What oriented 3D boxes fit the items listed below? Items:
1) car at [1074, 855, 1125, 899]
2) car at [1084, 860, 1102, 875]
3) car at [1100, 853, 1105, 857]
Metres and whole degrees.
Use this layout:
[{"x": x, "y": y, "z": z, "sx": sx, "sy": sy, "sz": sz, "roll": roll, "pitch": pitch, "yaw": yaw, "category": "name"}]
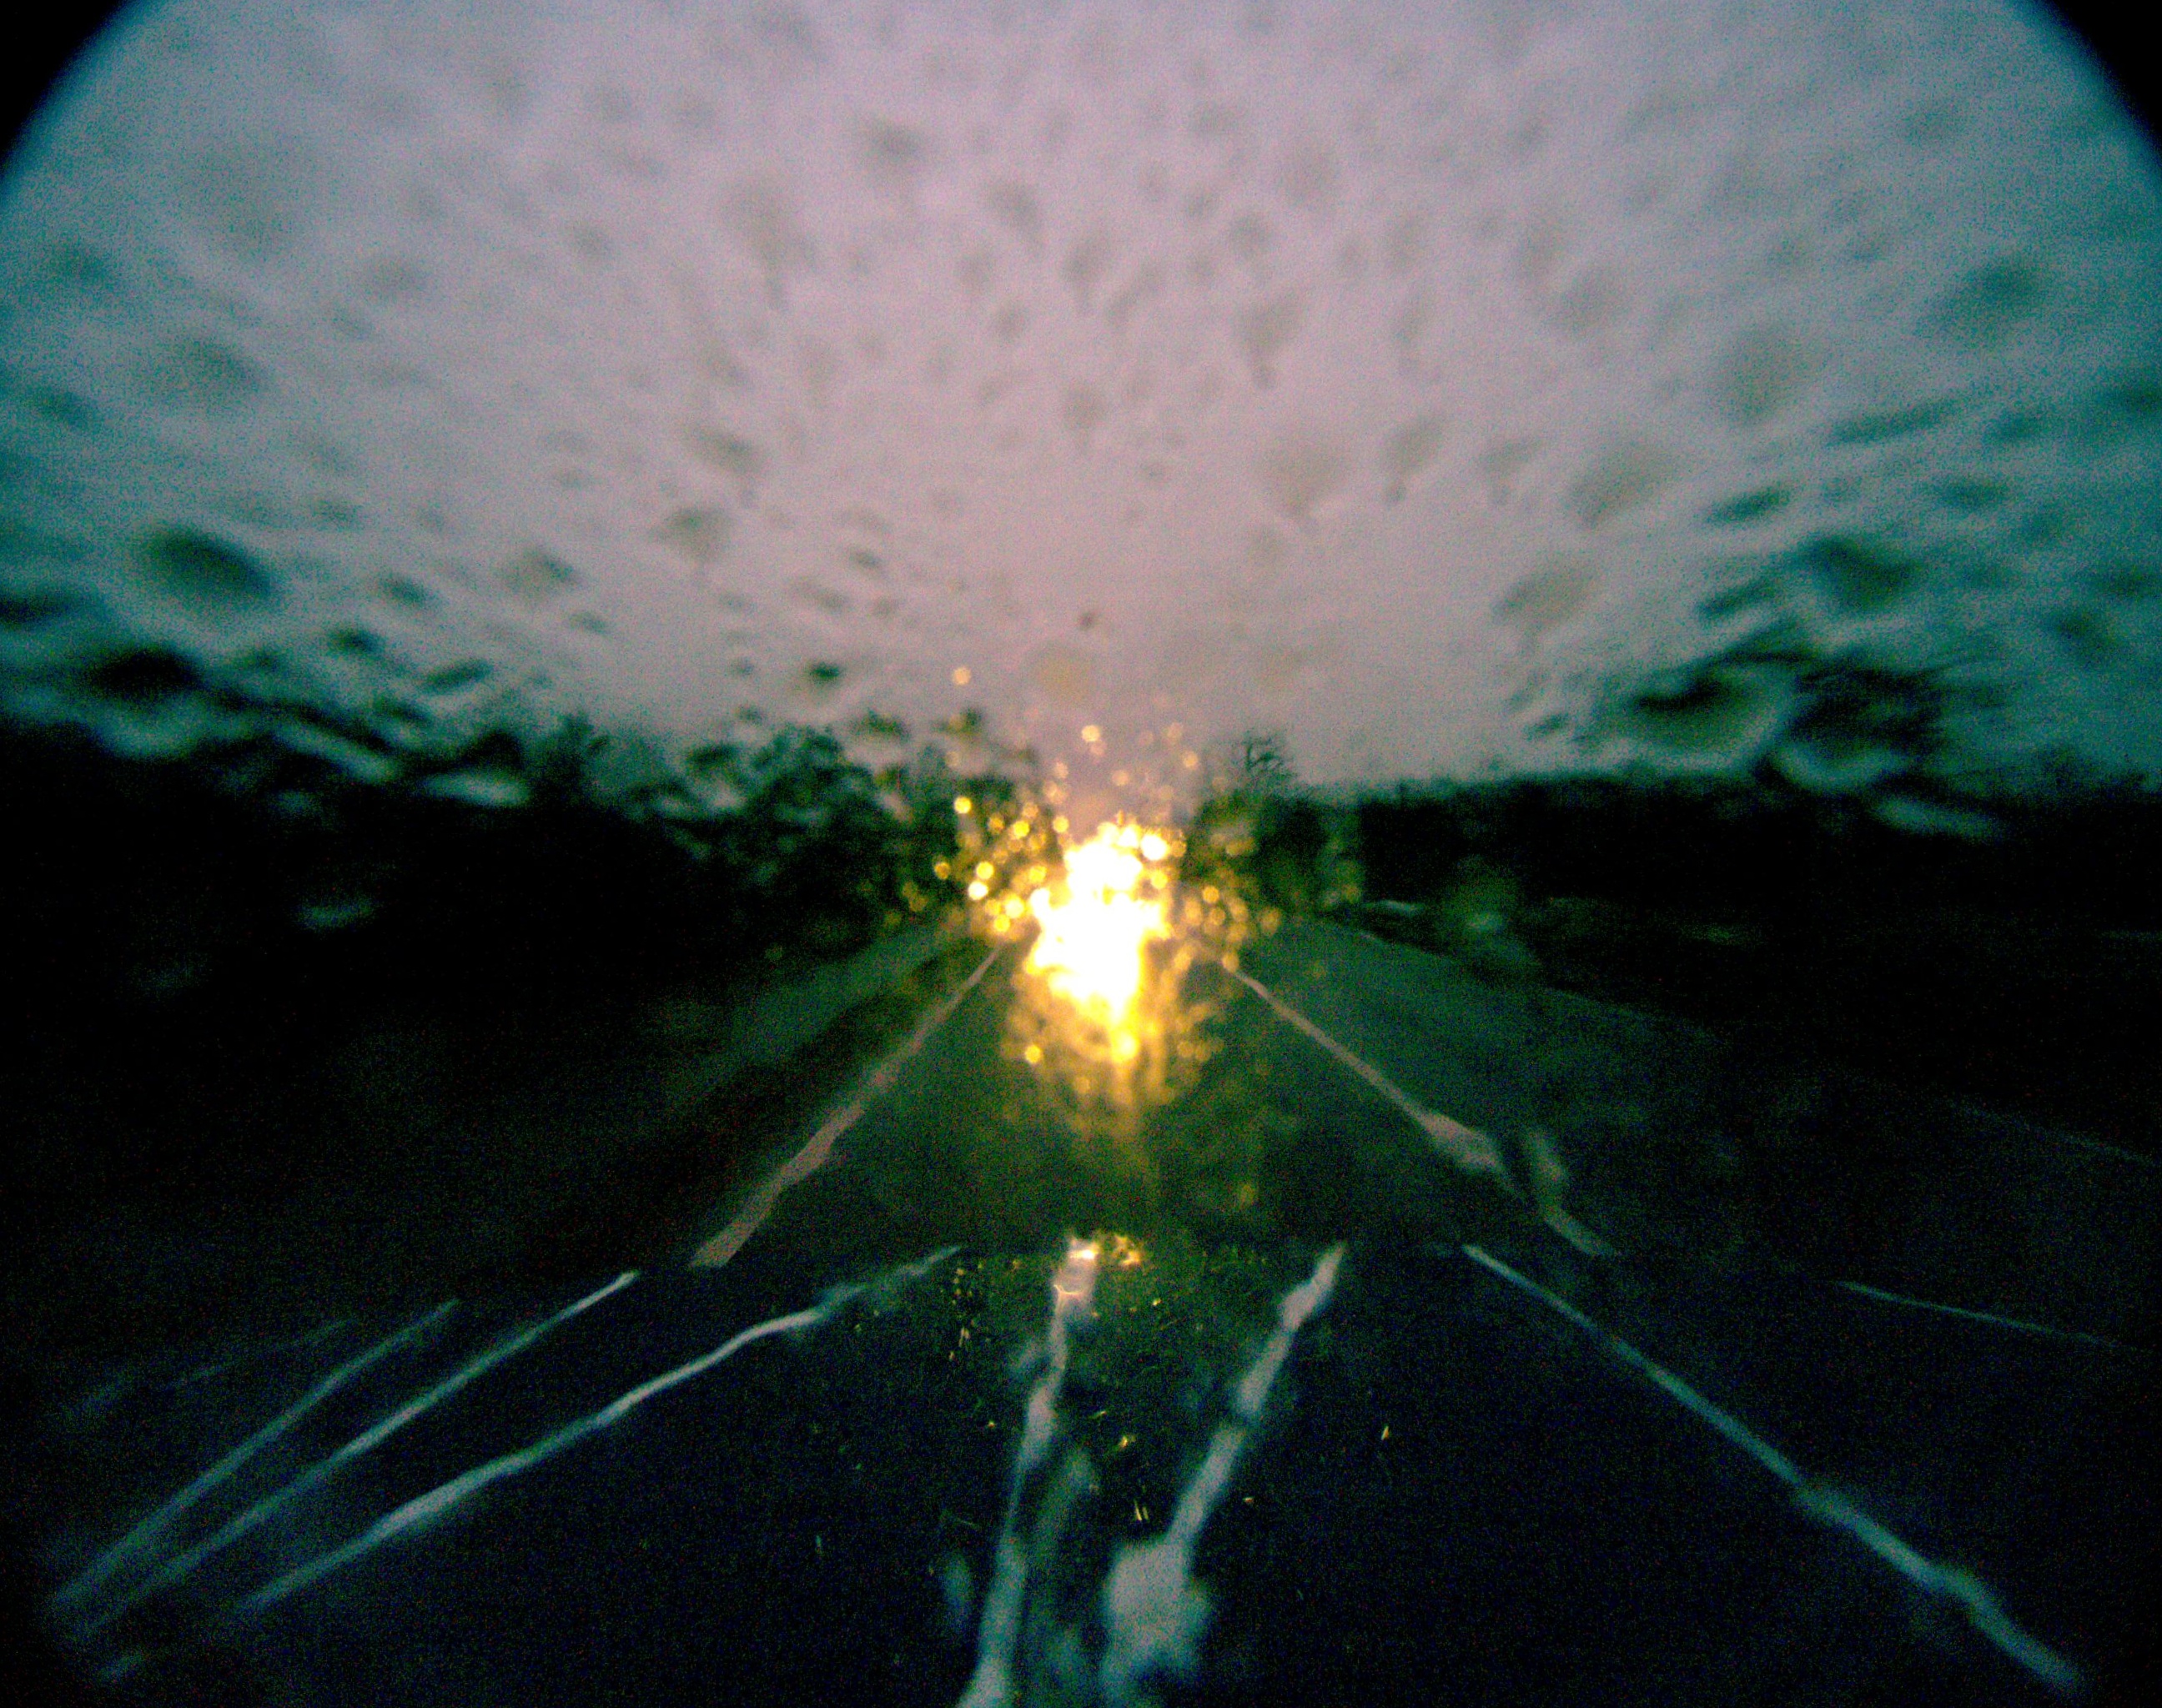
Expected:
[{"x": 0.704, "y": 0.853, "z": 30.139, "sx": 1.860, "sy": 1.604, "sz": 4.000, "roll": -1, "pitch": 0, "yaw": 1, "category": "car"}, {"x": 1.426, "y": 1.517, "z": 87.618, "sx": 1.998, "sy": 1.612, "sz": 4.000, "roll": -2, "pitch": 1, "yaw": 1, "category": "car"}, {"x": 7.195, "y": 0.265, "z": 251.524, "sx": 1.636, "sy": 1.449, "sz": 3.982, "roll": 1, "pitch": 0, "yaw": 0, "category": "car"}]
